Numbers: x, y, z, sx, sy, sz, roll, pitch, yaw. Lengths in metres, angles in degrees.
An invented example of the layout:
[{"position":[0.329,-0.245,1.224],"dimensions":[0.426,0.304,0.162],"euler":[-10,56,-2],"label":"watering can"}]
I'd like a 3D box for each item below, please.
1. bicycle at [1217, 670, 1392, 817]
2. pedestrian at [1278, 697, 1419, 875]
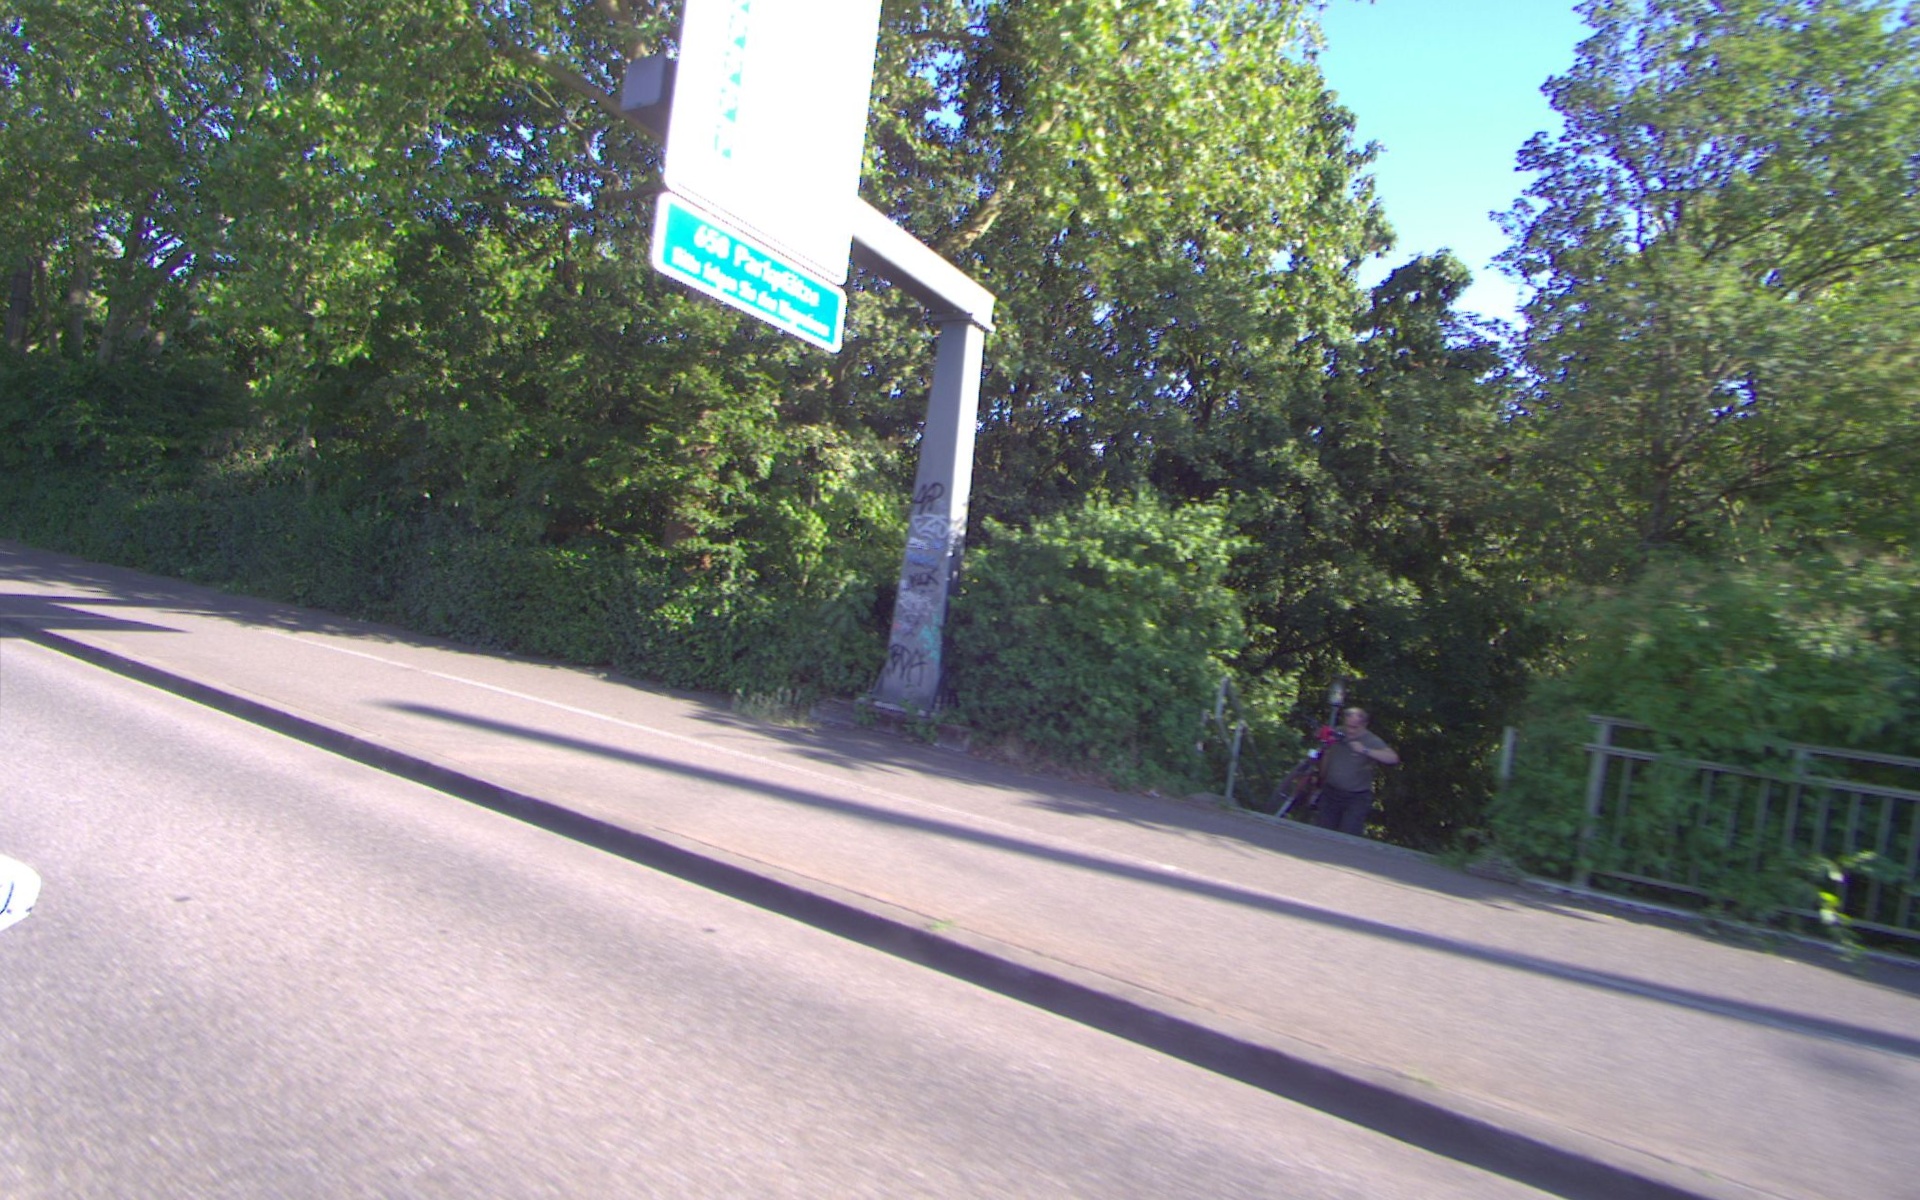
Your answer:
[{"position":[3.203,1.290,9.234],"dimensions":[0.619,1.136,2.031],"euler":[8,0,43],"label":"bicycle"},{"position":[3.541,1.656,9.171],"dimensions":[0.796,1.412,0.809],"euler":[7,1,45],"label":"pedestrian"}]
